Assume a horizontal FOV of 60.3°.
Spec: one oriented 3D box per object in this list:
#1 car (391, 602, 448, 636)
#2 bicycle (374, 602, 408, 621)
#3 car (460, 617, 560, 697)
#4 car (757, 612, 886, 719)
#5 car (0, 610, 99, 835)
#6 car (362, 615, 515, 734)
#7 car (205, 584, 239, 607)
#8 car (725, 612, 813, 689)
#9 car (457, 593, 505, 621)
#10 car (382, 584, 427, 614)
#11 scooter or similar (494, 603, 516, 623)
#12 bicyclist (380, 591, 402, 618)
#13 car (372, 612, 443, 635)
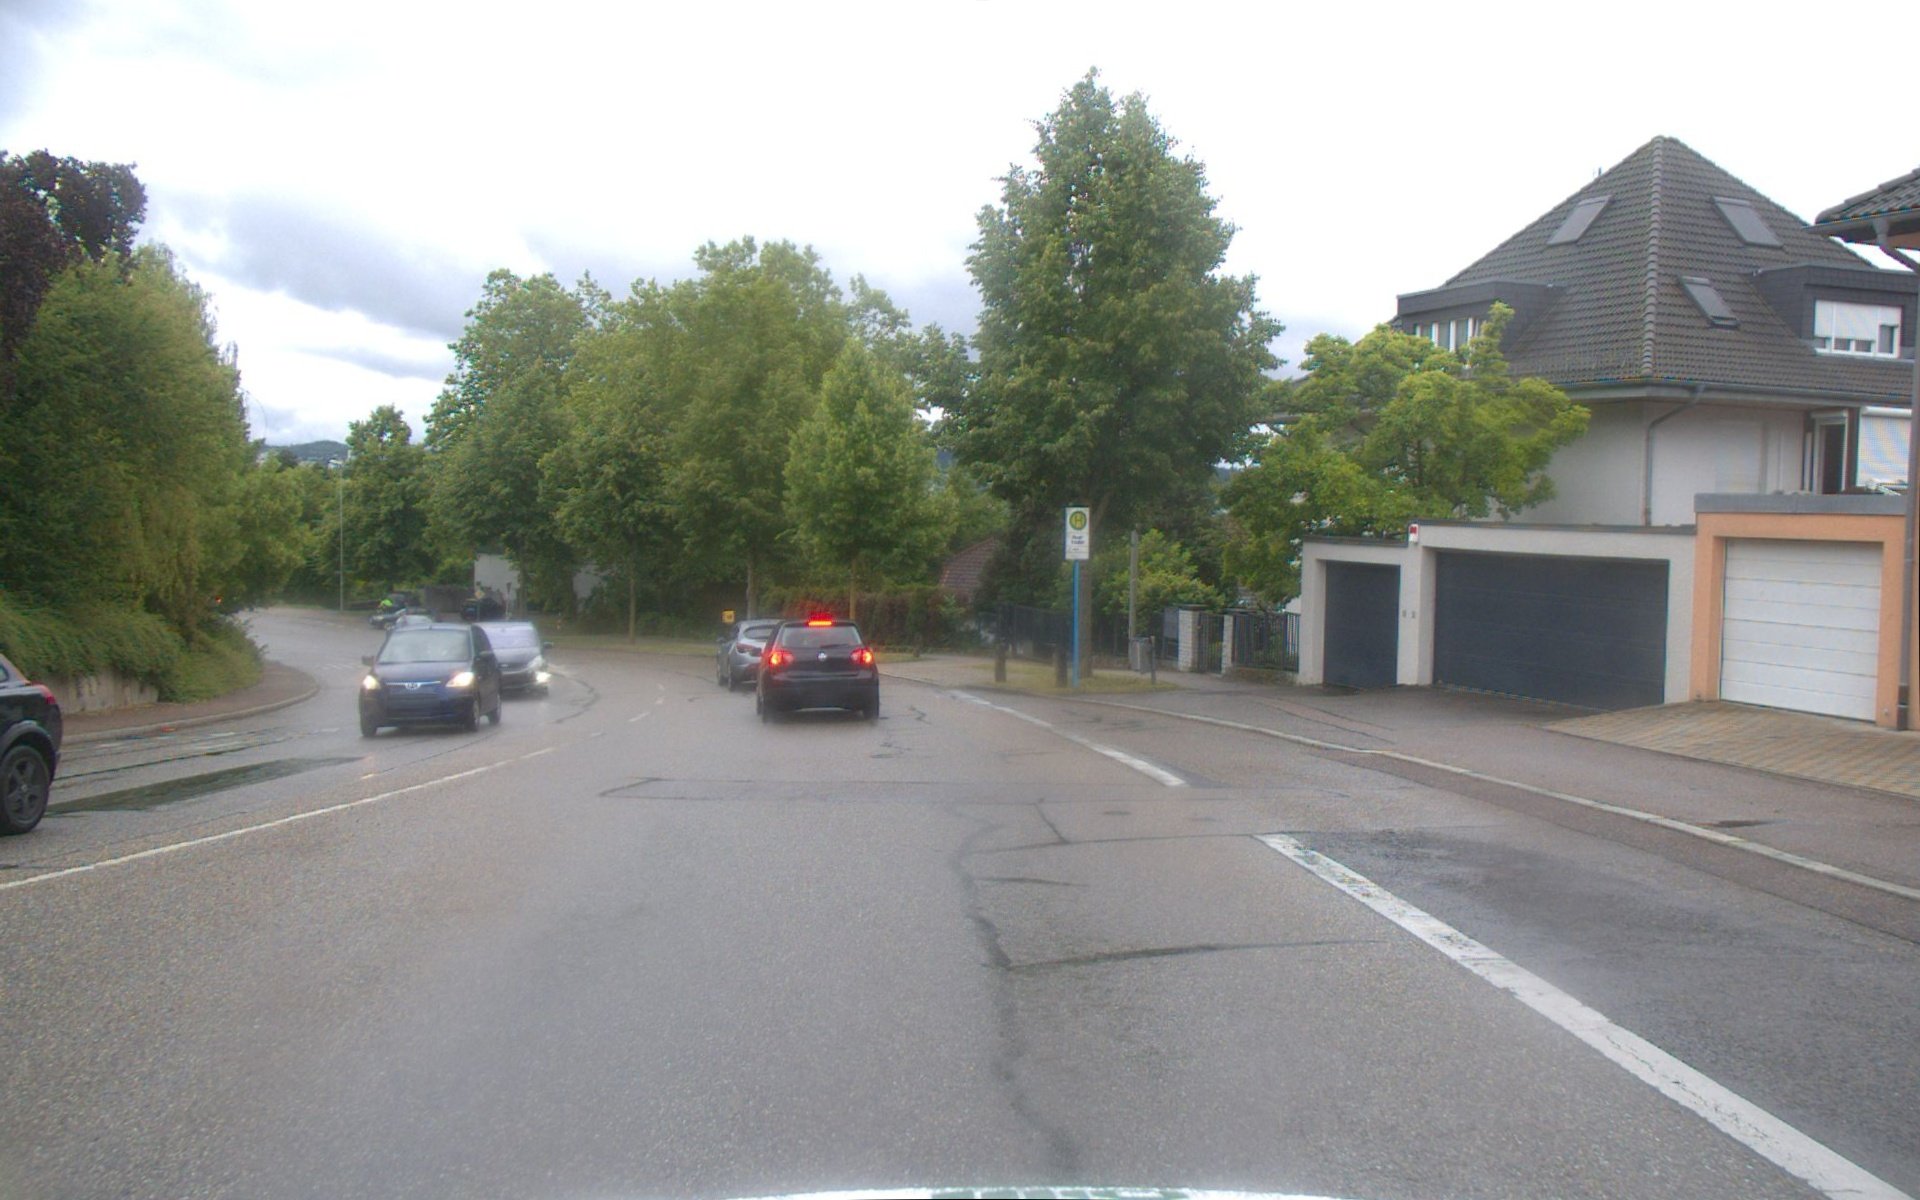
[{"bbox_3d":[-26.492,0.901,80.978,1.705,1.489,3.957,4,-1,-32],"label":"car"},{"bbox_3d":[-36.860,0.743,107.144,1.999,1.175,0.850,0,0,-17],"label":"bicycle"},{"bbox_3d":[-9.713,1.176,35.967,1.778,1.604,4.672,0,-1,-12],"label":"car"},{"bbox_3d":[-2.188,0.942,25.285,1.690,1.490,3.991,0,-1,-9],"label":"car"},{"bbox_3d":[-7.227,0.822,9.955,1.754,1.472,4.403,0,0,0],"label":"car"},{"bbox_3d":[-7.636,1.018,24.560,1.691,1.489,4.364,0,1,-12],"label":"car"},{"bbox_3d":[-53.186,-0.327,119.149,1.705,1.489,3.957,4,-1,-32],"label":"car"},{"bbox_3d":[-4.239,1.059,36.312,1.722,1.489,3.991,0,1,-10],"label":"car"},{"bbox_3d":[-32.992,0.462,113.950,1.714,1.495,4.569,3,4,3],"label":"car"},{"bbox_3d":[-38.144,-0.083,113.687,1.910,1.718,4.899,2,3,-6],"label":"car"},{"bbox_3d":[-30.971,0.851,112.513,1.327,1.308,0.553,-2,1,-40],"label":"scooter or similar"},{"bbox_3d":[-36.871,0.287,107.146,1.261,1.786,0.850,0,0,-17],"label":"bicyclist"},{"bbox_3d":[-34.167,1.453,102.327,4.070,1.408,1.715,0,-1,-24],"label":"car"}]
